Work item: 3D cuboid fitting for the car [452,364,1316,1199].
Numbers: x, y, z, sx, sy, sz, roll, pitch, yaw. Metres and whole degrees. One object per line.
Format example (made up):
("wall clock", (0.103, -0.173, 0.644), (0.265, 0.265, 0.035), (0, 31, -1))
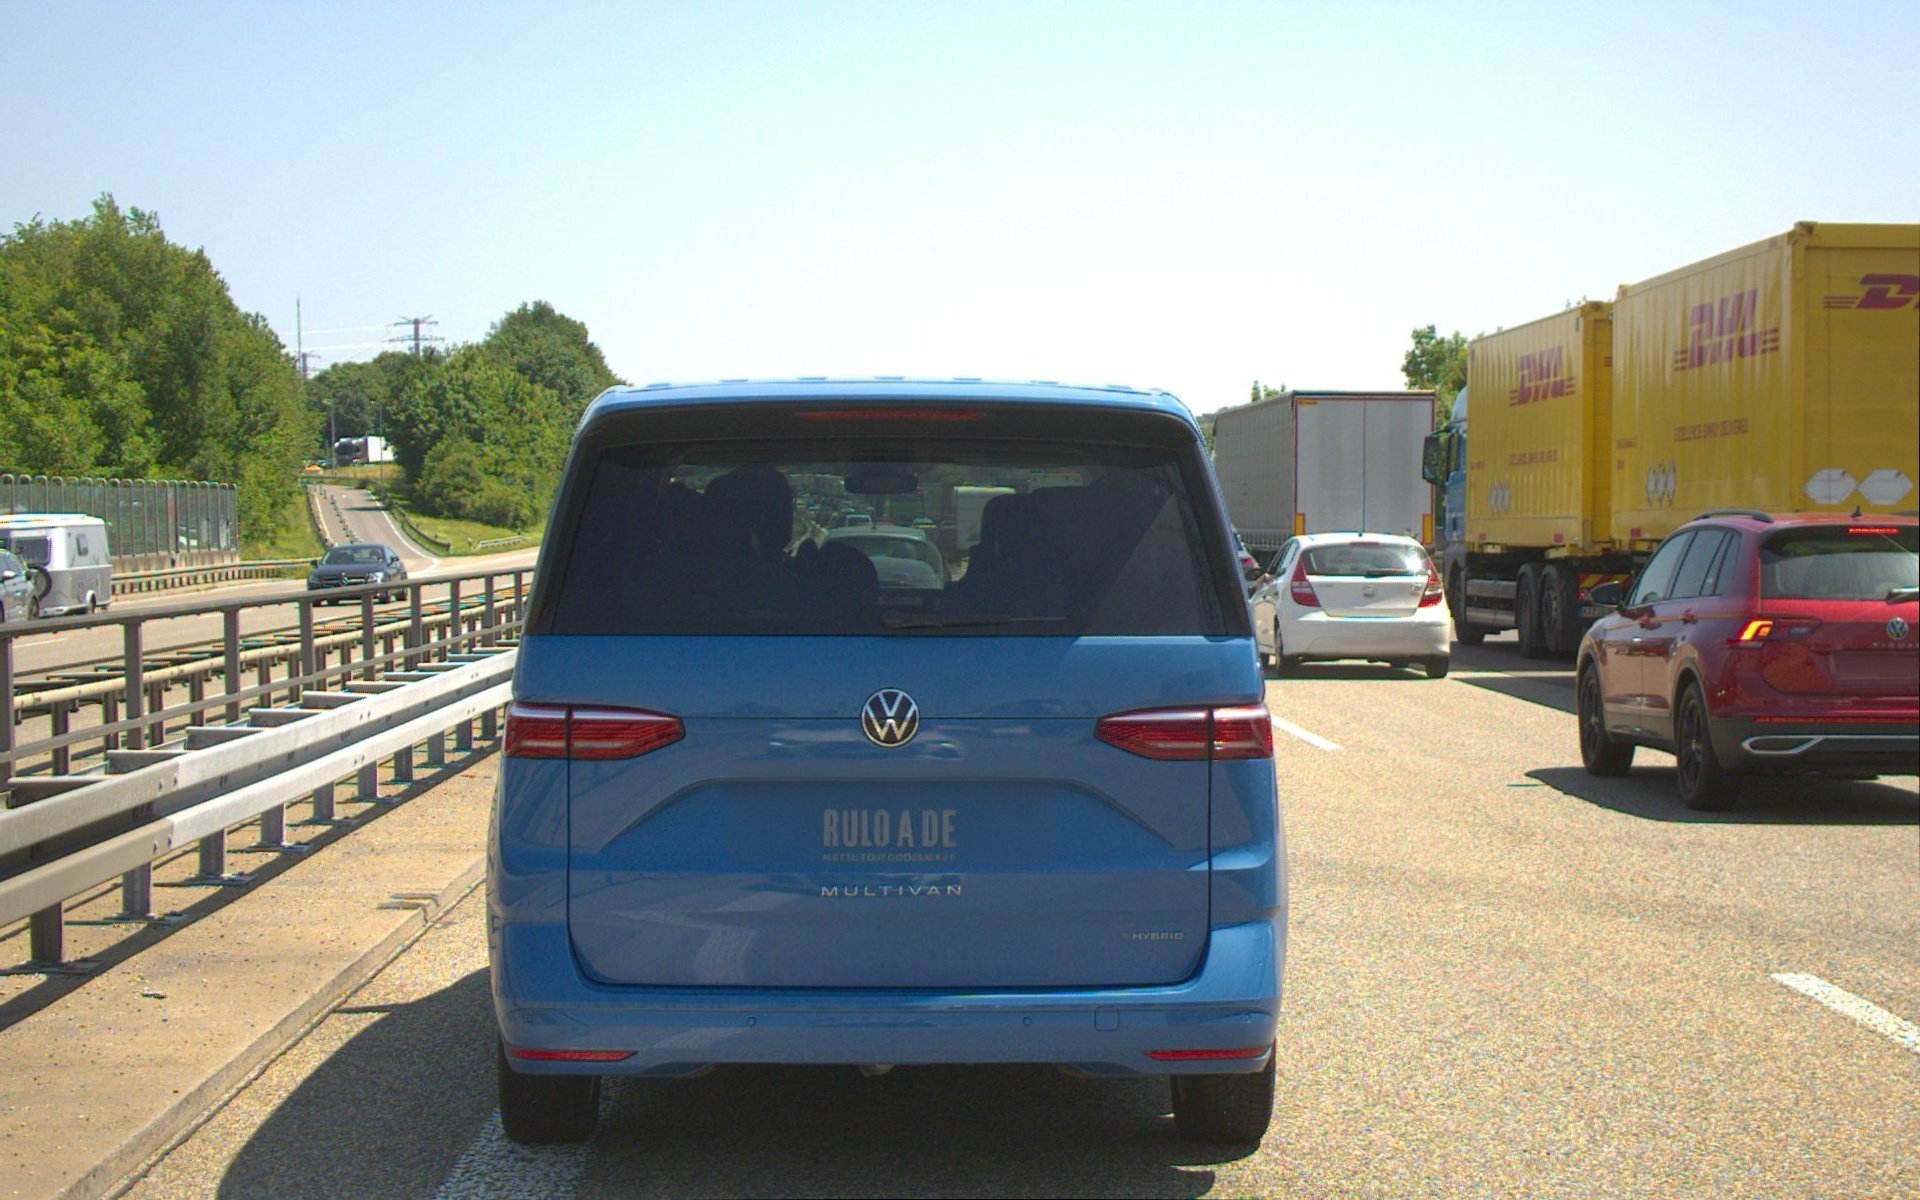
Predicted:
("car", (-0.201, 0.361, 9.518), (1.882, 1.831, 4.000), (0, 1, -1))

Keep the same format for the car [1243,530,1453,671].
("car", (4.049, -0.036, 36.439), (1.838, 1.409, 4.000), (0, 1, 1))

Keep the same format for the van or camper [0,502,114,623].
("van or camper", (-17.993, -0.706, 66.395), (1.993, 2.204, 5.538), (-3, 1, -2))

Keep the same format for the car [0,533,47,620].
("car", (-17.795, -0.383, 61.504), (1.856, 1.540, 4.201), (-3, 1, -2))

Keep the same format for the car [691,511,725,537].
("car", (-15.260, -4.616, 208.274), (1.840, 1.524, 3.558), (-2, 1, -1))

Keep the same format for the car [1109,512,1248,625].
("car", (3.166, -0.443, 50.446), (1.715, 1.581, 3.821), (0, 0, -1))

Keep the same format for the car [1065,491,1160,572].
("car", (3.111, -1.395, 70.910), (1.715, 1.535, 3.821), (0, -1, -1))

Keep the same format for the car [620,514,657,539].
("car", (-18.726, -4.299, 200.500), (1.800, 1.381, 4.263), (1, 1, -1))

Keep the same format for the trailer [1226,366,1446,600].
("trailer", (7.154, -2.159, 67.016), (2.755, 4.132, 11.313), (1, 1, -1))

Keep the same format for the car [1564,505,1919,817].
("car", (4.789, 0.269, 19.755), (1.851, 1.603, 4.000), (0, 1, -1))

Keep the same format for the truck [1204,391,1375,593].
("truck", (6.995, -2.259, 73.912), (2.768, 4.081, 6.985), (1, 1, -1))

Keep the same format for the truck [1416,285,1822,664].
("truck", (7.810, -1.419, 42.313), (2.722, 4.040, 10.337), (1, 1, -1))

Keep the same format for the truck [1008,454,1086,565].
("truck", (4.062, -4.179, 162.296), (2.833, 5.023, 11.147), (1, 1, -3))

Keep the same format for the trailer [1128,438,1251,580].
("trailer", (6.370, -2.492, 96.982), (2.379, 3.731, 11.189), (1, 1, -2))

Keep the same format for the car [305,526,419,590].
("car", (-13.965, -1.000, 80.490), (1.856, 1.393, 4.675), (-1, 1, -1))

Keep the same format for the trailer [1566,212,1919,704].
("trailer", (8.026, -1.206, 32.669), (2.701, 4.009, 8.931), (1, 1, -1))

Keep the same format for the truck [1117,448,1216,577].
("truck", (6.155, -2.581, 103.123), (2.367, 3.709, 6.034), (1, 1, -2))
